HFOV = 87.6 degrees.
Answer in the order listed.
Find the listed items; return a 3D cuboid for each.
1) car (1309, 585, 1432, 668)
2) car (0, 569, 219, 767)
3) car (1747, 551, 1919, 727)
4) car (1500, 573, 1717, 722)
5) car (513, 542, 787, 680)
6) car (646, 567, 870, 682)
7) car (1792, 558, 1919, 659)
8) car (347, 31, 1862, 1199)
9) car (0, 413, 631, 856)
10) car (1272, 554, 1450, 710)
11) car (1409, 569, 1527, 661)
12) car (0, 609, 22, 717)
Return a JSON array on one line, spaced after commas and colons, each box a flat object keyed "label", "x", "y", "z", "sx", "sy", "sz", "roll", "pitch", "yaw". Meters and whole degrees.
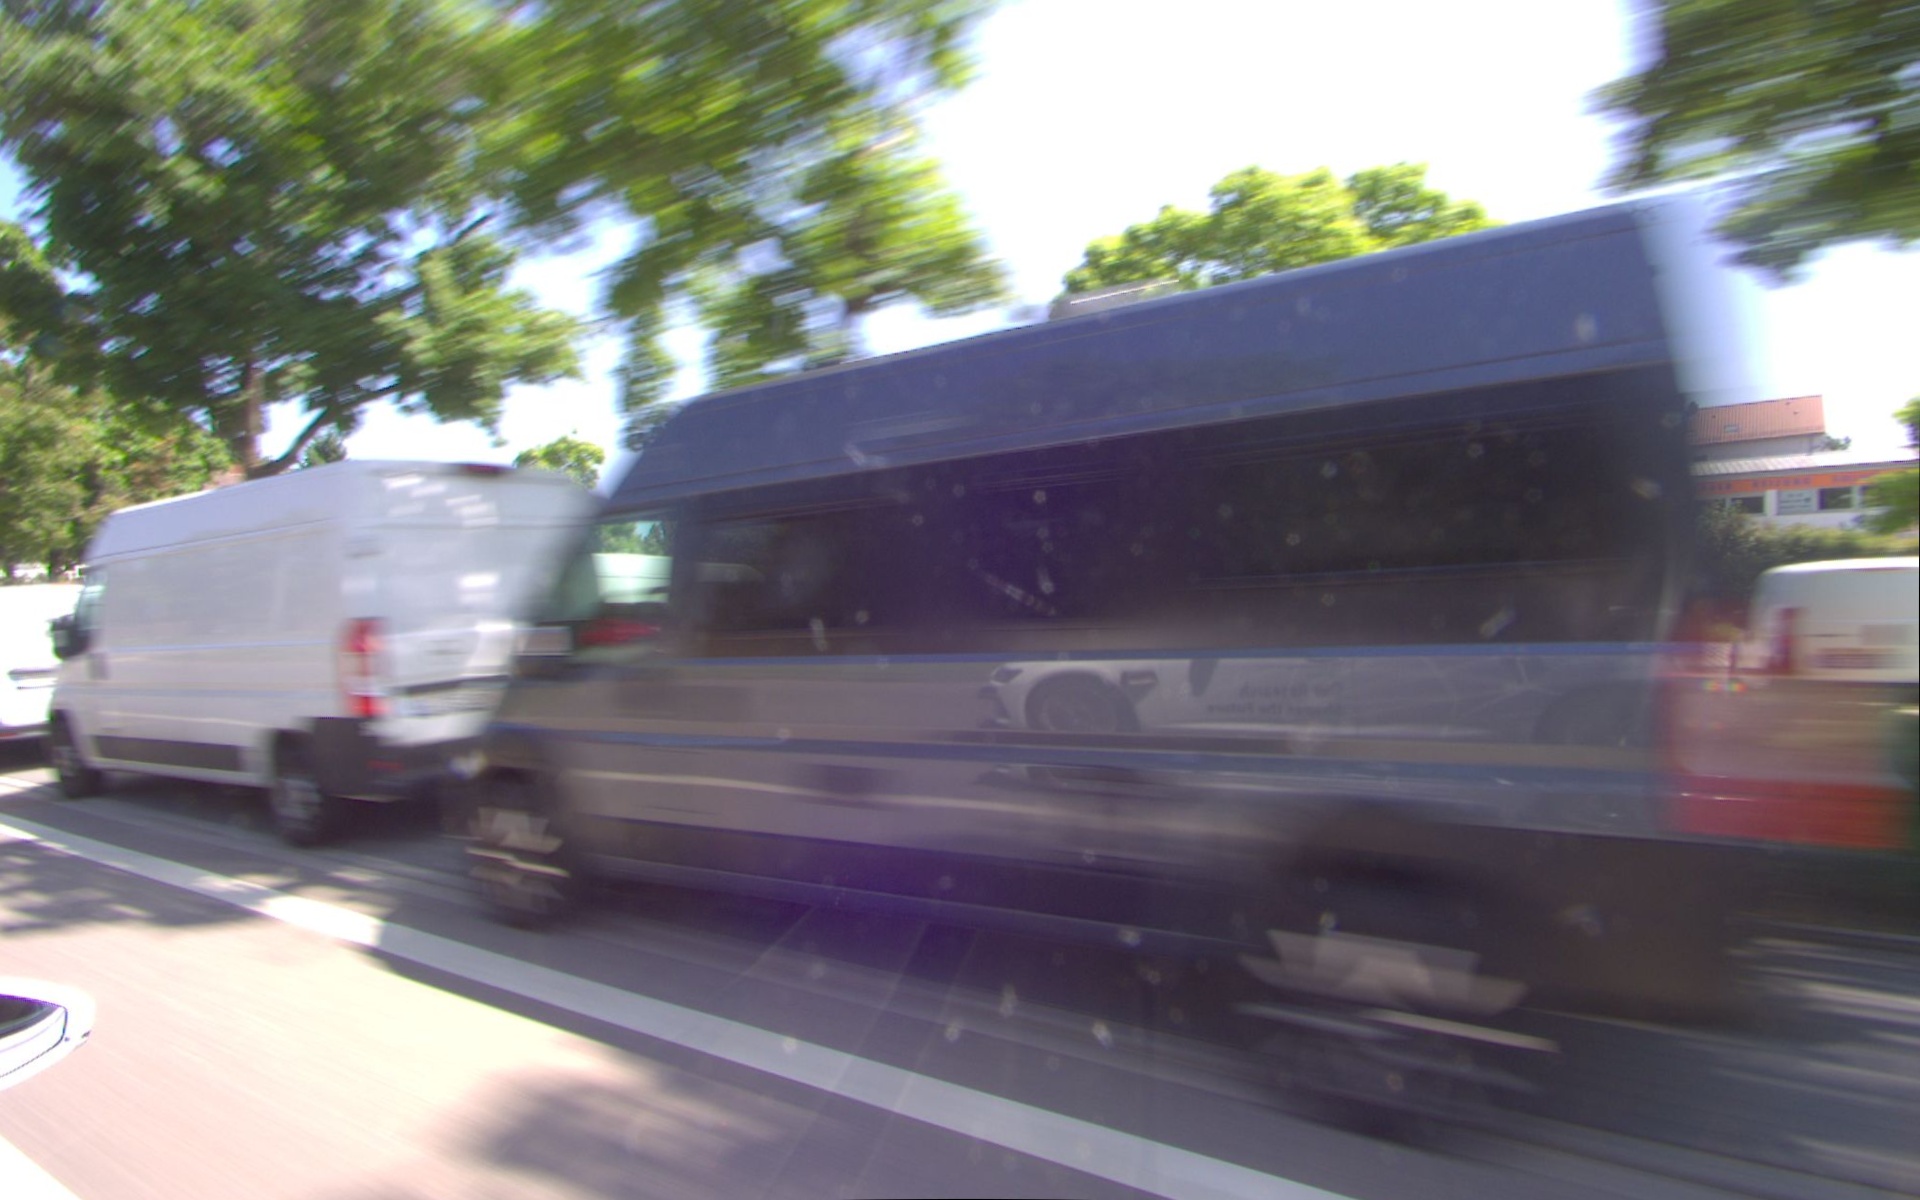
[{"label": "car", "x": 10.632, "y": 0.609, "z": 25.671, "sx": 2.065, "sy": 1.776, "sz": 5.083, "roll": -1, "pitch": 2, "yaw": 32}, {"label": "car", "x": -11.241, "y": 0.696, "z": 12.050, "sx": 5.202, "sy": 1.904, "sz": 1.991, "roll": -1, "pitch": 3, "yaw": 34}, {"label": "car", "x": 10.269, "y": 0.430, "z": 11.358, "sx": 1.703, "sy": 1.739, "sz": 3.366, "roll": -1, "pitch": -2, "yaw": 32}, {"label": "car", "x": 7.938, "y": 0.569, "z": 12.655, "sx": 1.924, "sy": 1.524, "sz": 4.403, "roll": -1, "pitch": -2, "yaw": 28}, {"label": "car", "x": -6.241, "y": 0.285, "z": 20.949, "sx": 2.065, "sy": 2.491, "sz": 5.481, "roll": -1, "pitch": -2, "yaw": 32}, {"label": "car", "x": -3.725, "y": 0.489, "z": 19.294, "sx": 1.924, "sy": 1.933, "sz": 4.405, "roll": -1, "pitch": -2, "yaw": 27}, {"label": "car", "x": 18.784, "y": 0.090, "z": 20.470, "sx": 2.065, "sy": 1.776, "sz": 5.140, "roll": -1, "pitch": 2, "yaw": 32}, {"label": "car", "x": -0.101, "y": 0.148, "z": 4.590, "sx": 5.991, "sy": 2.673, "sz": 1.992, "roll": -1, "pitch": 3, "yaw": 32}, {"label": "car", "x": -5.699, "y": 0.224, "z": 8.461, "sx": 6.054, "sy": 2.673, "sz": 1.992, "roll": -1, "pitch": 3, "yaw": 32}, {"label": "car", "x": 5.625, "y": 0.444, "z": 13.772, "sx": 1.924, "sy": 1.807, "sz": 3.778, "roll": -1, "pitch": -2, "yaw": 27}, {"label": "car", "x": 12.303, "y": 0.279, "z": 24.055, "sx": 2.065, "sy": 1.902, "sz": 5.083, "roll": -1, "pitch": 2, "yaw": 32}, {"label": "car", "x": -15.959, "y": 0.989, "z": 15.125, "sx": 3.787, "sy": 1.562, "sz": 1.707, "roll": -1, "pitch": 3, "yaw": 34}]
